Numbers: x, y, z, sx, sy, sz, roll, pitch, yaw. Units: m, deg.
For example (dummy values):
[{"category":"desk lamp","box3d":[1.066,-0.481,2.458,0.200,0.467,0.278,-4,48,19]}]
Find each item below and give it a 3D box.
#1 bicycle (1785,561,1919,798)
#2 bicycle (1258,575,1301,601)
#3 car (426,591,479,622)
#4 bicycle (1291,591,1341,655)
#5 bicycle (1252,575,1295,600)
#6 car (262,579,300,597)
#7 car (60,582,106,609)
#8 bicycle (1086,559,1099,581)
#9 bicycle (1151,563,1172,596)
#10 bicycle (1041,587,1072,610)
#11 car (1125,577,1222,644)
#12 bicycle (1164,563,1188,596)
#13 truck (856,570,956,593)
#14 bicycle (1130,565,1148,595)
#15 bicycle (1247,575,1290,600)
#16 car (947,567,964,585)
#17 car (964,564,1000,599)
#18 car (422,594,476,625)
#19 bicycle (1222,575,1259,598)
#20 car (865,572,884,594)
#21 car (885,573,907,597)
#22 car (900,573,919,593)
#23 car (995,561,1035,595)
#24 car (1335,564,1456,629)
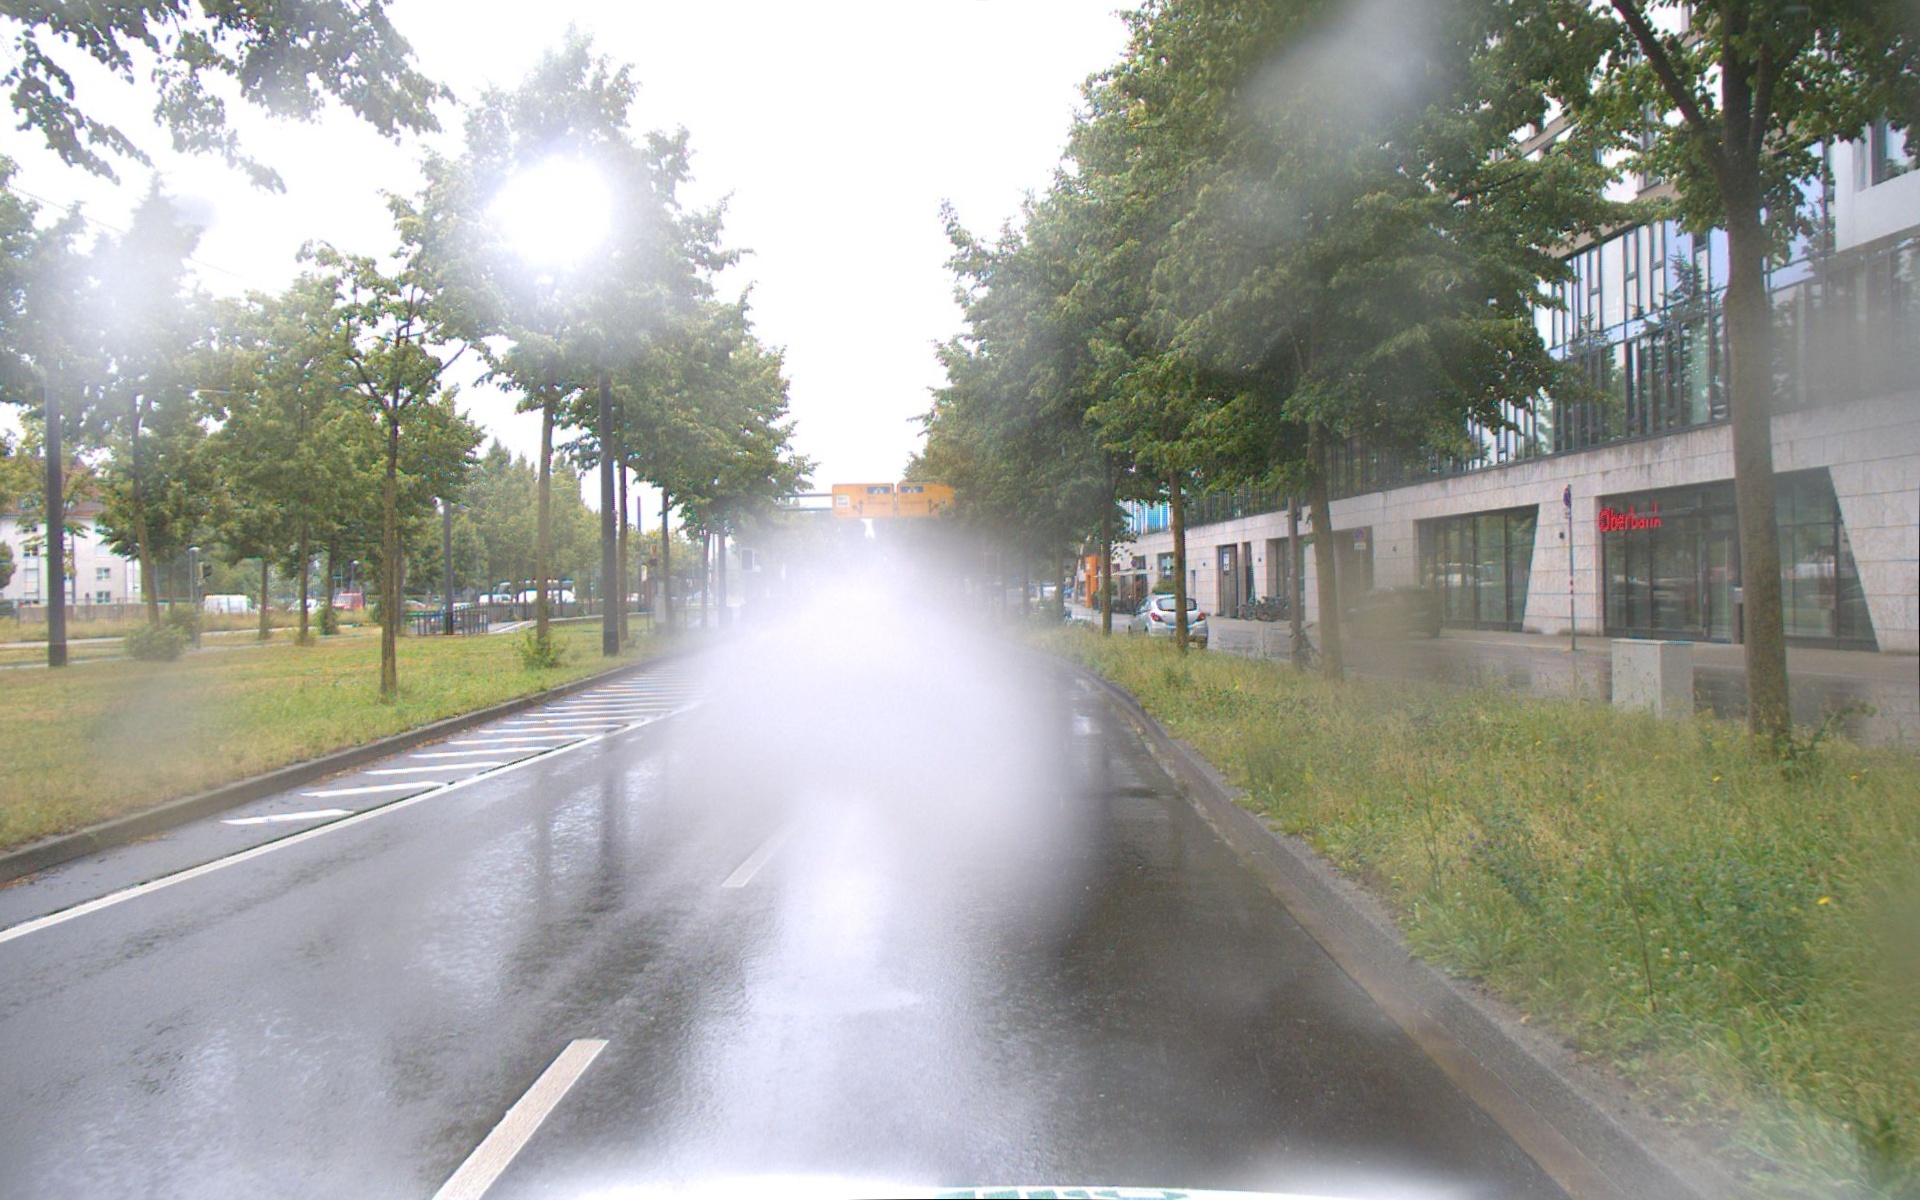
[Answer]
[{"category":"bicycle","box3d":[5.520,0.390,8.843,1.995,1.217,0.491,-1,0,-4]},{"category":"bicycle","box3d":[13.848,-0.523,71.602,1.770,1.046,0.401,-1,0,-1]},{"category":"car","box3d":[-24.438,0.336,79.780,1.460,1.320,4.969,-2,-2,-6]},{"category":"bicycle","box3d":[5.423,0.337,25.266,0.335,0.836,1.903,-1,3,0]},{"category":"bicycle","box3d":[13.708,-0.551,72.261,1.770,1.046,0.541,-1,0,-1]},{"category":"car","box3d":[-71.599,-1.263,174.401,3.490,1.768,1.691,-3,3,-28]},{"category":"car","box3d":[-76.041,-0.423,143.485,1.954,2.048,3.998,-1,3,-4]},{"category":"bicycle","box3d":[10.312,-2.335,128.718,0.653,1.561,2.763,-1,3,-3]},{"category":"bicycle","box3d":[11.724,-1.215,96.148,0.632,1.752,3.119,-1,3,-4]},{"category":"bicycle","box3d":[4.063,-0.064,69.594,1.261,0.889,0.301,-2,0,6]},{"category":"car","box3d":[5.910,0.244,46.285,1.844,1.532,4.722,-1,3,-3]},{"category":"bicycle","box3d":[12.505,-1.222,95.977,0.757,1.752,3.119,-1,3,-4]},{"category":"truck","box3d":[-8.007,-2.736,245.325,14.588,3.202,3.515,-1,0,-10]},{"category":"bicycle","box3d":[11.458,-1.276,105.867,0.632,1.752,3.119,-1,3,-4]},{"category":"bicycle","box3d":[13.701,-0.554,73.478,1.770,1.046,0.541,-1,0,-1]},{"category":"car","box3d":[-0.591,-2.948,204.663,1.953,2.048,4.000,-1,3,-2]},{"category":"car","box3d":[1.503,-1.272,113.481,2.079,2.313,4.562,-1,1,-3]},{"category":"car","box3d":[-24.596,0.435,79.757,1.519,1.288,4.848,-1,2,-5]},{"category":"bicycle","box3d":[13.280,-0.644,78.303,1.659,1.046,0.423,-1,0,-1]},{"category":"car","box3d":[-8.752,-1.806,169.772,1.850,2.048,3.999,-1,3,-3]},{"category":"car","box3d":[-5.940,-1.413,153.529,1.902,2.048,3.999,-1,3,-3]},{"category":"car","box3d":[-5.770,-1.955,189.022,1.952,2.048,4.002,-1,3,0]},{"category":"car","box3d":[3.122,-1.267,95.118,1.868,1.822,4.685,-1,1,-3]},{"category":"car","box3d":[12.538,-0.142,47.940,1.954,1.526,5.033,-6,2,-1]}]
